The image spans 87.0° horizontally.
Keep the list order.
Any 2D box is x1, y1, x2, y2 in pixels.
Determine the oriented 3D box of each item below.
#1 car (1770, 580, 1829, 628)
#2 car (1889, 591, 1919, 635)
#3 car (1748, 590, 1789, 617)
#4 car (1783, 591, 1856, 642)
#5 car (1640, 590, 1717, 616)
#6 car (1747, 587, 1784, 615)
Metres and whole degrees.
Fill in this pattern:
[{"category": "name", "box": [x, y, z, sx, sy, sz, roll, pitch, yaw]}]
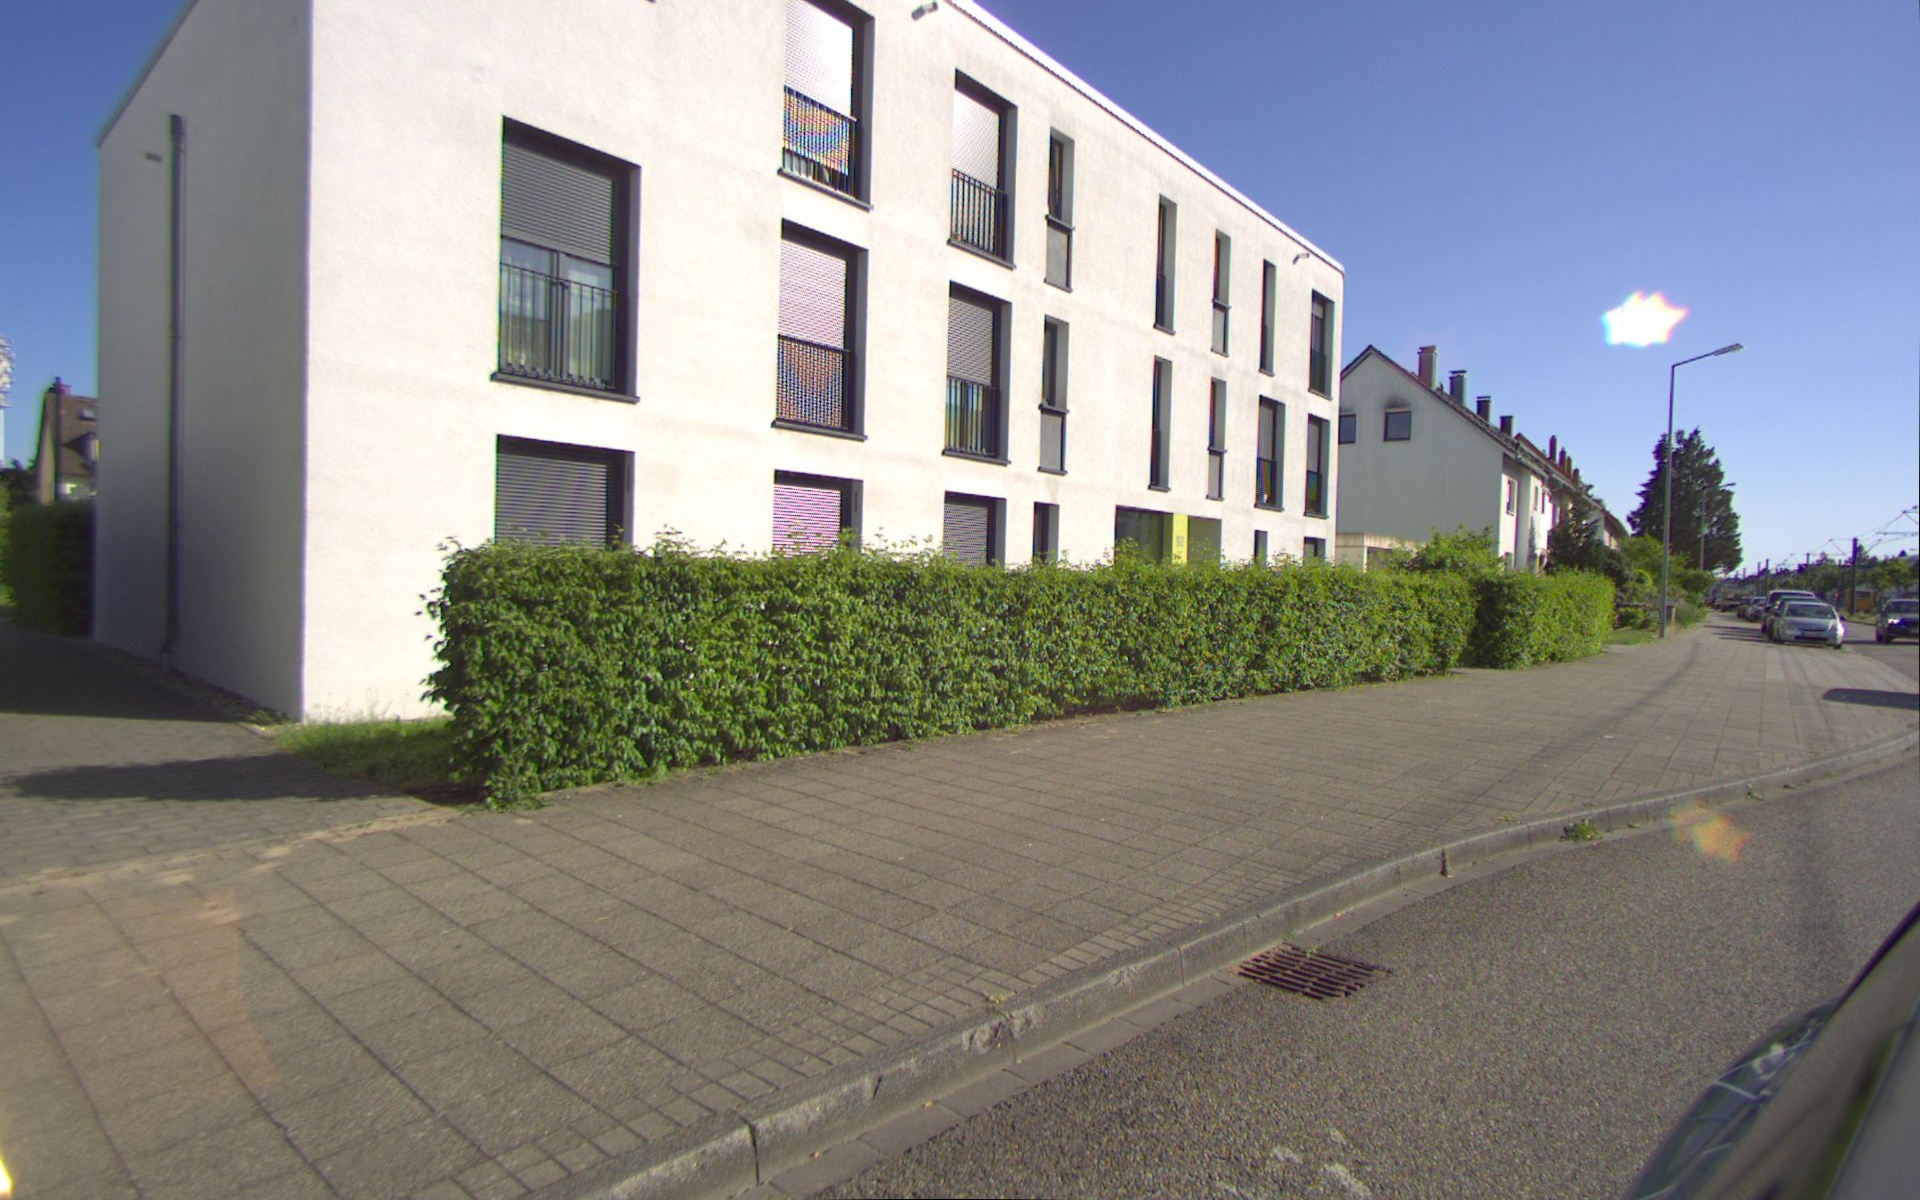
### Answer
[{"category": "car", "box": [37.816, 0.144, 45.559, 1.887, 1.986, 3.954, 4, 3, 41]}, {"category": "car", "box": [36.004, 0.498, 37.657, 1.887, 1.533, 3.698, 4, 3, 41]}, {"category": "car", "box": [47.965, 0.185, 60.045, 1.694, 1.492, 3.954, 4, 3, 41]}, {"category": "car", "box": [28.477, 0.491, 33.548, 1.694, 1.492, 3.954, 4, 3, 41]}, {"category": "car", "box": [48.094, 0.174, 67.742, 3.987, 1.705, 1.968, 0, 0, 44]}, {"category": "car", "box": [52.088, 0.059, 65.419, 1.694, 1.633, 3.954, 4, 3, 41]}]
